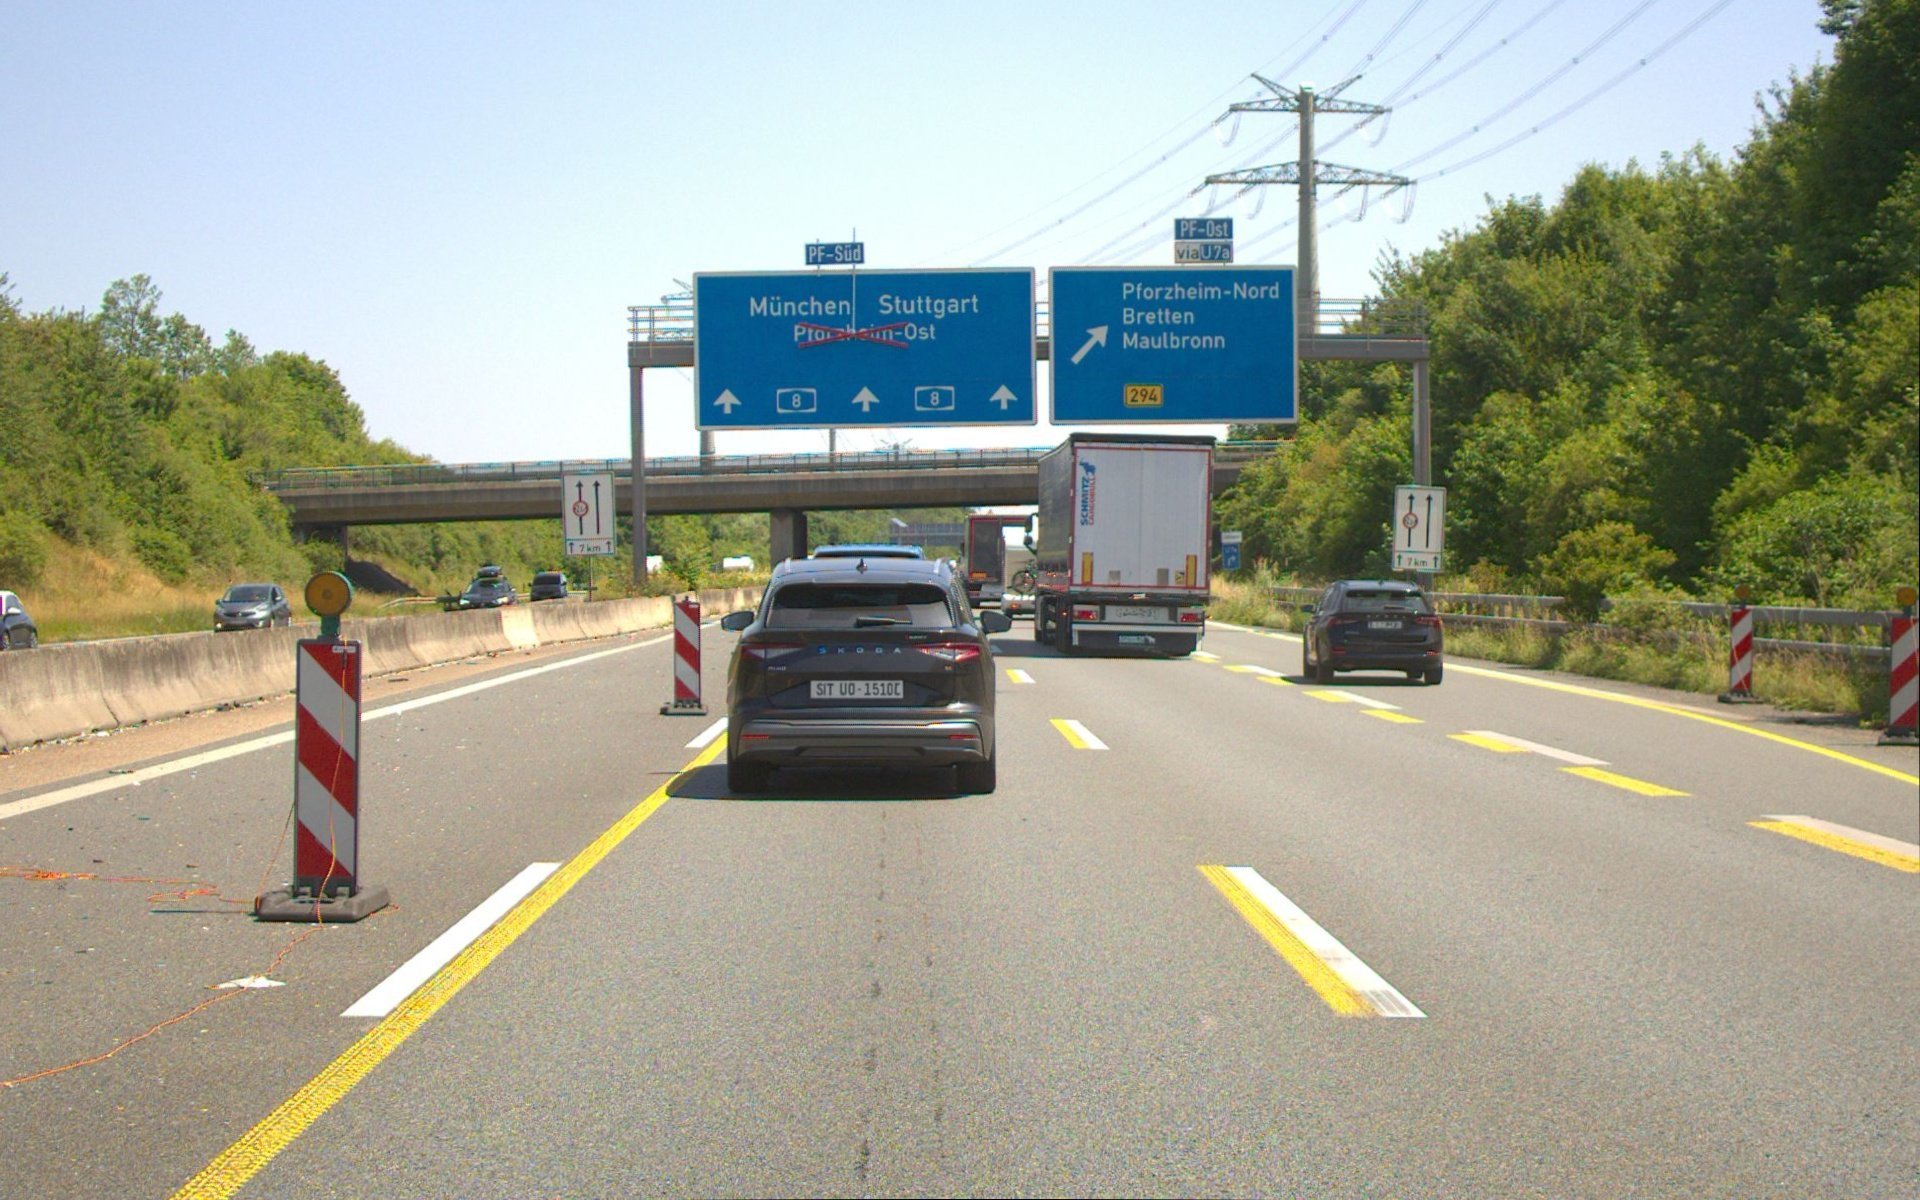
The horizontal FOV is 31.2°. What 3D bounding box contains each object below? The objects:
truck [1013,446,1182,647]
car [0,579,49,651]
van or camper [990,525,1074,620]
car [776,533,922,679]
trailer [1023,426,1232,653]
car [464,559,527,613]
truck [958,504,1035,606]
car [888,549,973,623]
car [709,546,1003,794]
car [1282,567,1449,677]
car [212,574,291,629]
[{"bbox_3d":[2.859,-1.141,74.007,3.024,4.073,7.796,1,1,-2],"label":"truck"},{"bbox_3d":[-20.430,0.313,72.251,1.574,1.459,3.779,-1,1,0],"label":"car"},{"bbox_3d":[2.297,-0.920,111.631,2.586,2.958,6.085,-1,1,0],"label":"van or camper"},{"bbox_3d":[-1.555,0.042,48.480,1.895,1.835,4.443,2,2,-2],"label":"car"},{"bbox_3d":[3.082,-1.146,66.979,3.065,4.029,11.489,0,1,-2],"label":"trailer"},{"bbox_3d":[-16.075,-0.509,119.053,1.741,1.812,4.623,-1,1,-3],"label":"car"},{"bbox_3d":[1.535,-1.912,147.738,3.078,4.132,13.054,1,1,0],"label":"truck"},{"bbox_3d":[-0.730,-0.349,81.579,1.895,1.504,4.443,2,2,-2],"label":"car"},{"bbox_3d":[-0.737,0.420,24.575,1.895,1.586,4.443,-1,1,-2],"label":"car"},{"bbox_3d":[5.807,0.283,49.690,1.779,1.484,4.464,1,1,-1],"label":"car"},{"bbox_3d":[-20.840,0.026,101.275,1.499,1.543,4.000,-1,1,0],"label":"car"}]
